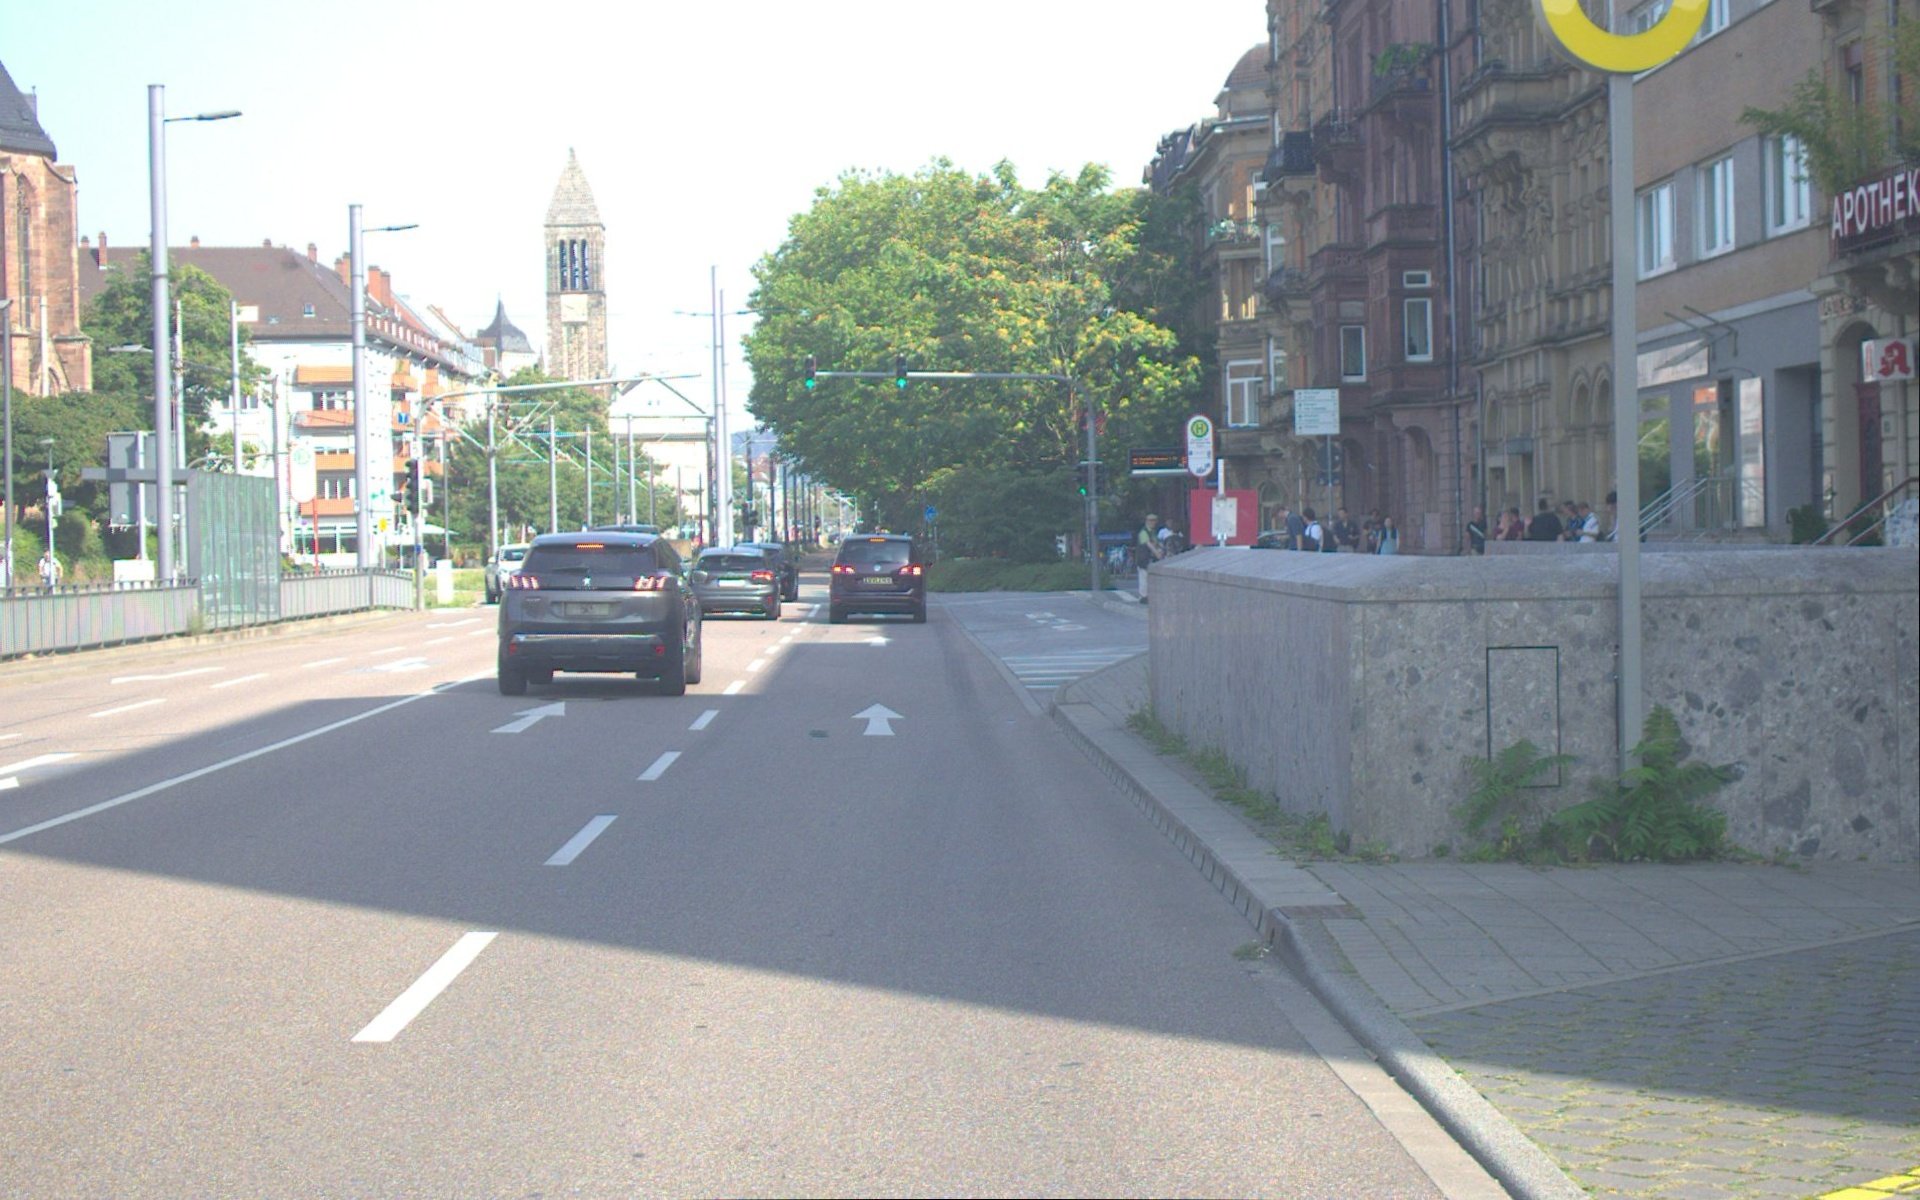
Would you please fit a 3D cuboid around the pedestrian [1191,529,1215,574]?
[{"bbox_3d":[4.487,-0.894,63.565,0.303,0.817,0.604,-1,1,-8],"label":"pedestrian"}]

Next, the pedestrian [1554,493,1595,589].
[{"bbox_3d":[11.208,-1.081,62.743,0.603,1.725,0.511,-1,1,-4],"label":"pedestrian"}]

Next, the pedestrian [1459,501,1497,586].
[{"bbox_3d":[10.497,-1.153,69.723,0.629,1.713,0.691,-1,1,-1],"label":"pedestrian"}]

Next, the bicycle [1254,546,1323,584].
[{"bbox_3d":[9.538,-1.012,99.808,1.927,1.044,0.500,-1,1,-6],"label":"bicycle"}]

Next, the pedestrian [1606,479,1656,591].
[{"bbox_3d":[11.055,-1.069,56.685,0.603,1.825,0.742,-1,1,-4],"label":"pedestrian"}]

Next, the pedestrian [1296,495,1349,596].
[{"bbox_3d":[6.259,-0.946,59.370,0.749,1.723,0.801,-1,1,-4],"label":"pedestrian"}]

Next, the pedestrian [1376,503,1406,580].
[{"bbox_3d":[9.051,-1.236,72.217,0.486,1.605,0.813,-1,1,0],"label":"pedestrian"}]

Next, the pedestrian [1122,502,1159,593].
[{"bbox_3d":[3.429,-1.000,65.333,0.565,1.723,0.745,-1,1,-4],"label":"pedestrian"}]

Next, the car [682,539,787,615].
[{"bbox_3d":[-4.484,-0.482,68.725,1.864,1.419,4.357,0,1,-1],"label":"car"}]

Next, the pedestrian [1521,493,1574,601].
[{"bbox_3d":[9.832,-0.895,57.577,0.720,1.781,0.856,-1,1,0],"label":"pedestrian"}]

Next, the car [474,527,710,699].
[{"bbox_3d":[-3.683,0.079,35.118,1.993,1.615,4.357,0,1,-1],"label":"car"}]

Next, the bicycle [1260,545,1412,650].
[{"bbox_3d":[4.229,-0.032,38.751,1.633,1.144,0.601,-1,1,1],"label":"bicycle"}]

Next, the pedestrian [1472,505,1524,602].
[{"bbox_3d":[9.019,-0.781,57.637,0.720,1.605,0.856,-1,1,0],"label":"pedestrian"}]

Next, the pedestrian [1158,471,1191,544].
[{"bbox_3d":[4.972,-2.150,79.850,0.690,1.658,0.619,-1,1,-1],"label":"pedestrian"}]

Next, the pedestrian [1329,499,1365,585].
[{"bbox_3d":[8.133,-1.219,72.235,0.617,1.798,1.071,-1,1,0],"label":"pedestrian"}]

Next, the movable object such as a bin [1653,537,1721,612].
[{"bbox_3d":[10.744,-0.378,50.820,0.736,1.077,0.670,-2,1,-18],"label":"movable object such as a bin"}]

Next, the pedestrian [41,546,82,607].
[{"bbox_3d":[-25.137,-0.653,96.178,0.917,1.673,0.602,-1,1,9],"label":"pedestrian"}]

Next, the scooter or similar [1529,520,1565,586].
[{"bbox_3d":[10.497,-0.852,61.493,0.360,1.159,1.152,-1,1,-4],"label":"scooter or similar"}]

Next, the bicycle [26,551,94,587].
[{"bbox_3d":[-25.179,-0.861,96.183,1.759,0.974,0.479,-1,1,8],"label":"bicycle"}]

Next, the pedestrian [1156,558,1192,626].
[{"bbox_3d":[4.073,-0.162,65.468,0.565,1.273,0.597,-1,1,-5],"label":"pedestrian"}]

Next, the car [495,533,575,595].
[{"bbox_3d":[-11.822,-1.034,95.826,1.713,1.606,4.505,-2,1,-1],"label":"car"}]

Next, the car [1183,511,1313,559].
[{"bbox_3d":[9.976,-2.270,119.172,4.179,1.558,2.000,-1,1,-5],"label":"car"}]

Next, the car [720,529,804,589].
[{"bbox_3d":[-4.835,-1.027,84.386,1.864,1.419,4.357,0,1,-1],"label":"car"}]

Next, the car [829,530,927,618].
[{"bbox_3d":[-1.572,-0.532,66.724,1.831,1.615,4.357,0,1,-1],"label":"car"}]

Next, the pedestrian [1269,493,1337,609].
[{"bbox_3d":[5.486,-0.787,54.996,0.925,1.825,0.801,-1,1,-4],"label":"pedestrian"}]

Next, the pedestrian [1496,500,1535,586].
[{"bbox_3d":[10.746,-1.113,66.545,0.603,1.649,0.587,-1,1,-4],"label":"pedestrian"}]

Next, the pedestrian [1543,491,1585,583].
[{"bbox_3d":[11.200,-1.169,63.758,0.603,1.686,0.587,-1,1,-4],"label":"pedestrian"}]

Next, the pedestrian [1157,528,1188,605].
[{"bbox_3d":[4.480,-0.715,72.575,0.528,1.606,0.703,-1,1,-4],"label":"pedestrian"}]
